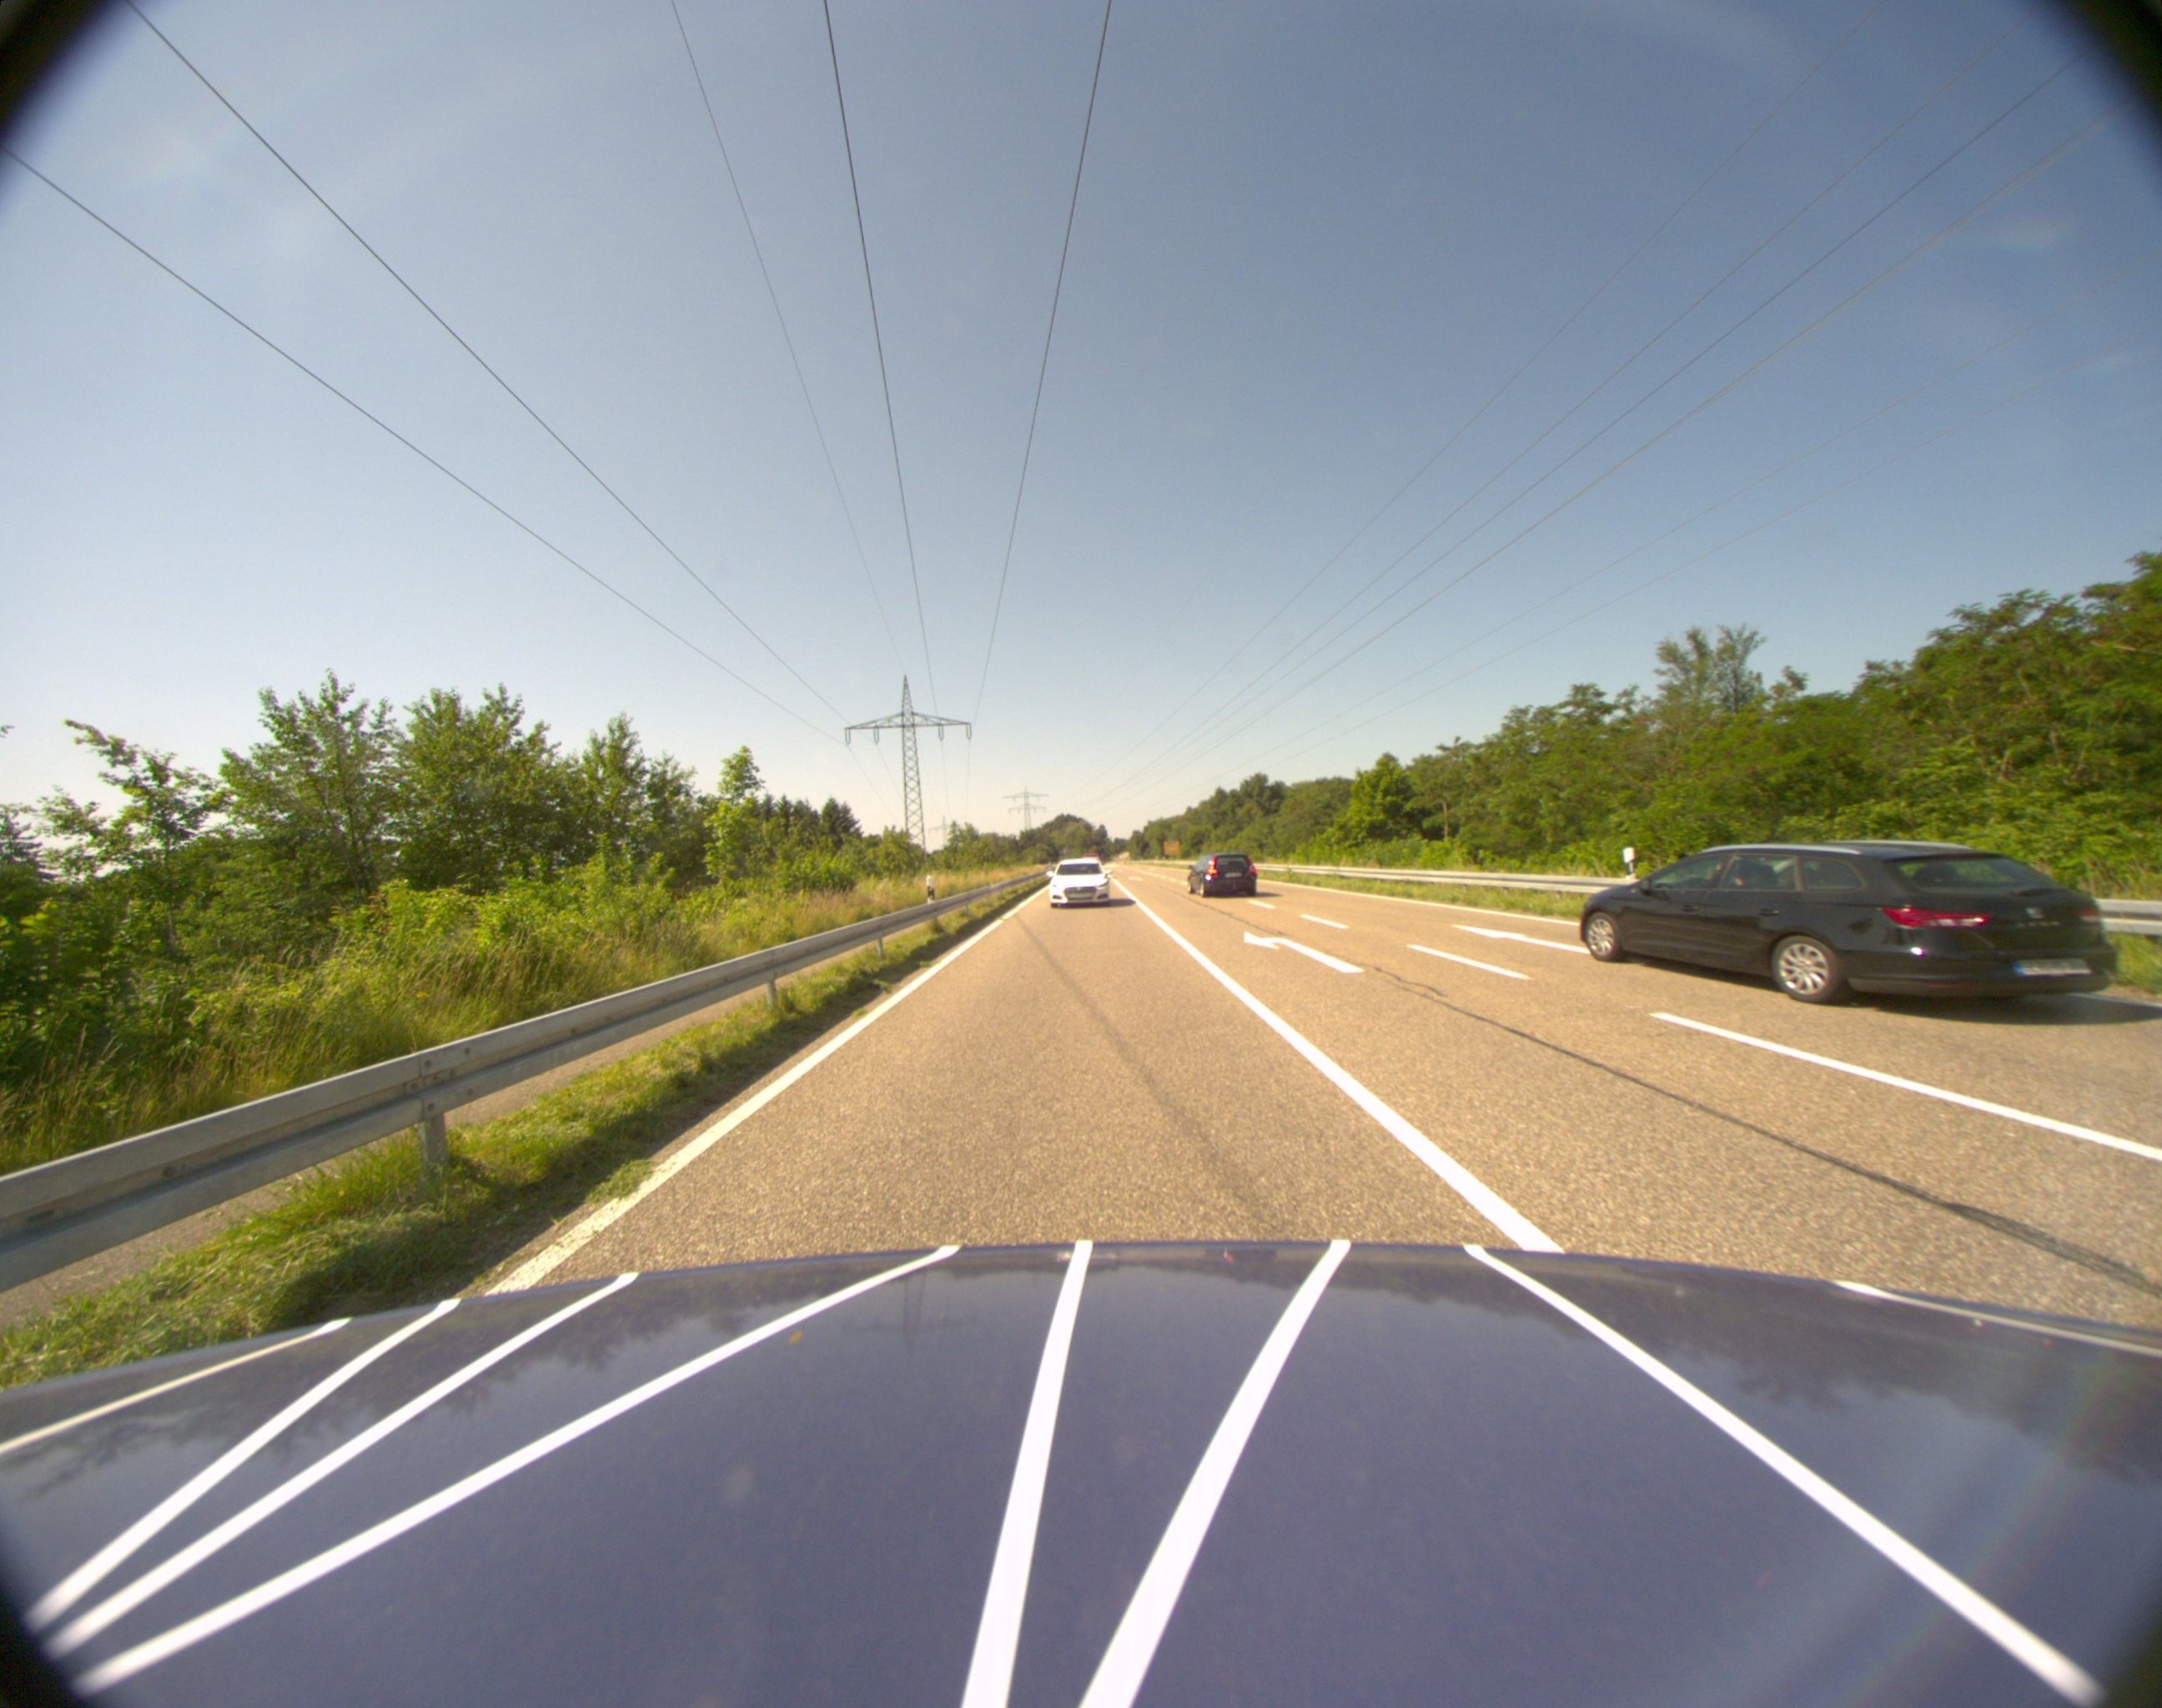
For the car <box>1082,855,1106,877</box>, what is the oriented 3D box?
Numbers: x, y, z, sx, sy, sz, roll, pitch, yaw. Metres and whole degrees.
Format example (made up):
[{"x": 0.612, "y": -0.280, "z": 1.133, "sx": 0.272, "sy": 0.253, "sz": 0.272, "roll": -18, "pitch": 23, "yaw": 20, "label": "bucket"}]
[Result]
[{"x": 0.866, "y": 0.847, "z": 54.035, "sx": 1.549, "sy": 1.460, "sz": 3.661, "roll": -2, "pitch": 0, "yaw": -1, "label": "car"}]

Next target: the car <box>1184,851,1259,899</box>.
[{"x": 4.877, "y": 0.687, "z": 26.980, "sx": 1.732, "sy": 1.482, "sz": 4.422, "roll": -2, "pitch": 0, "yaw": -1, "label": "car"}]

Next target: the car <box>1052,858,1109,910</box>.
[{"x": -0.012, "y": 0.895, "z": 24.728, "sx": 1.683, "sy": 1.472, "sz": 4.473, "roll": -1, "pitch": 0, "yaw": 0, "label": "car"}]

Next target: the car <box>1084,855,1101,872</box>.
[{"x": 1.323, "y": 1.111, "z": 90.074, "sx": 1.795, "sy": 1.892, "sz": 4.837, "roll": -2, "pitch": 0, "yaw": 0, "label": "car"}]

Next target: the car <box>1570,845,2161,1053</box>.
[{"x": 7.085, "y": 0.680, "z": 7.583, "sx": 1.664, "sy": 1.433, "sz": 4.214, "roll": -2, "pitch": 0, "yaw": 0, "label": "car"}]
